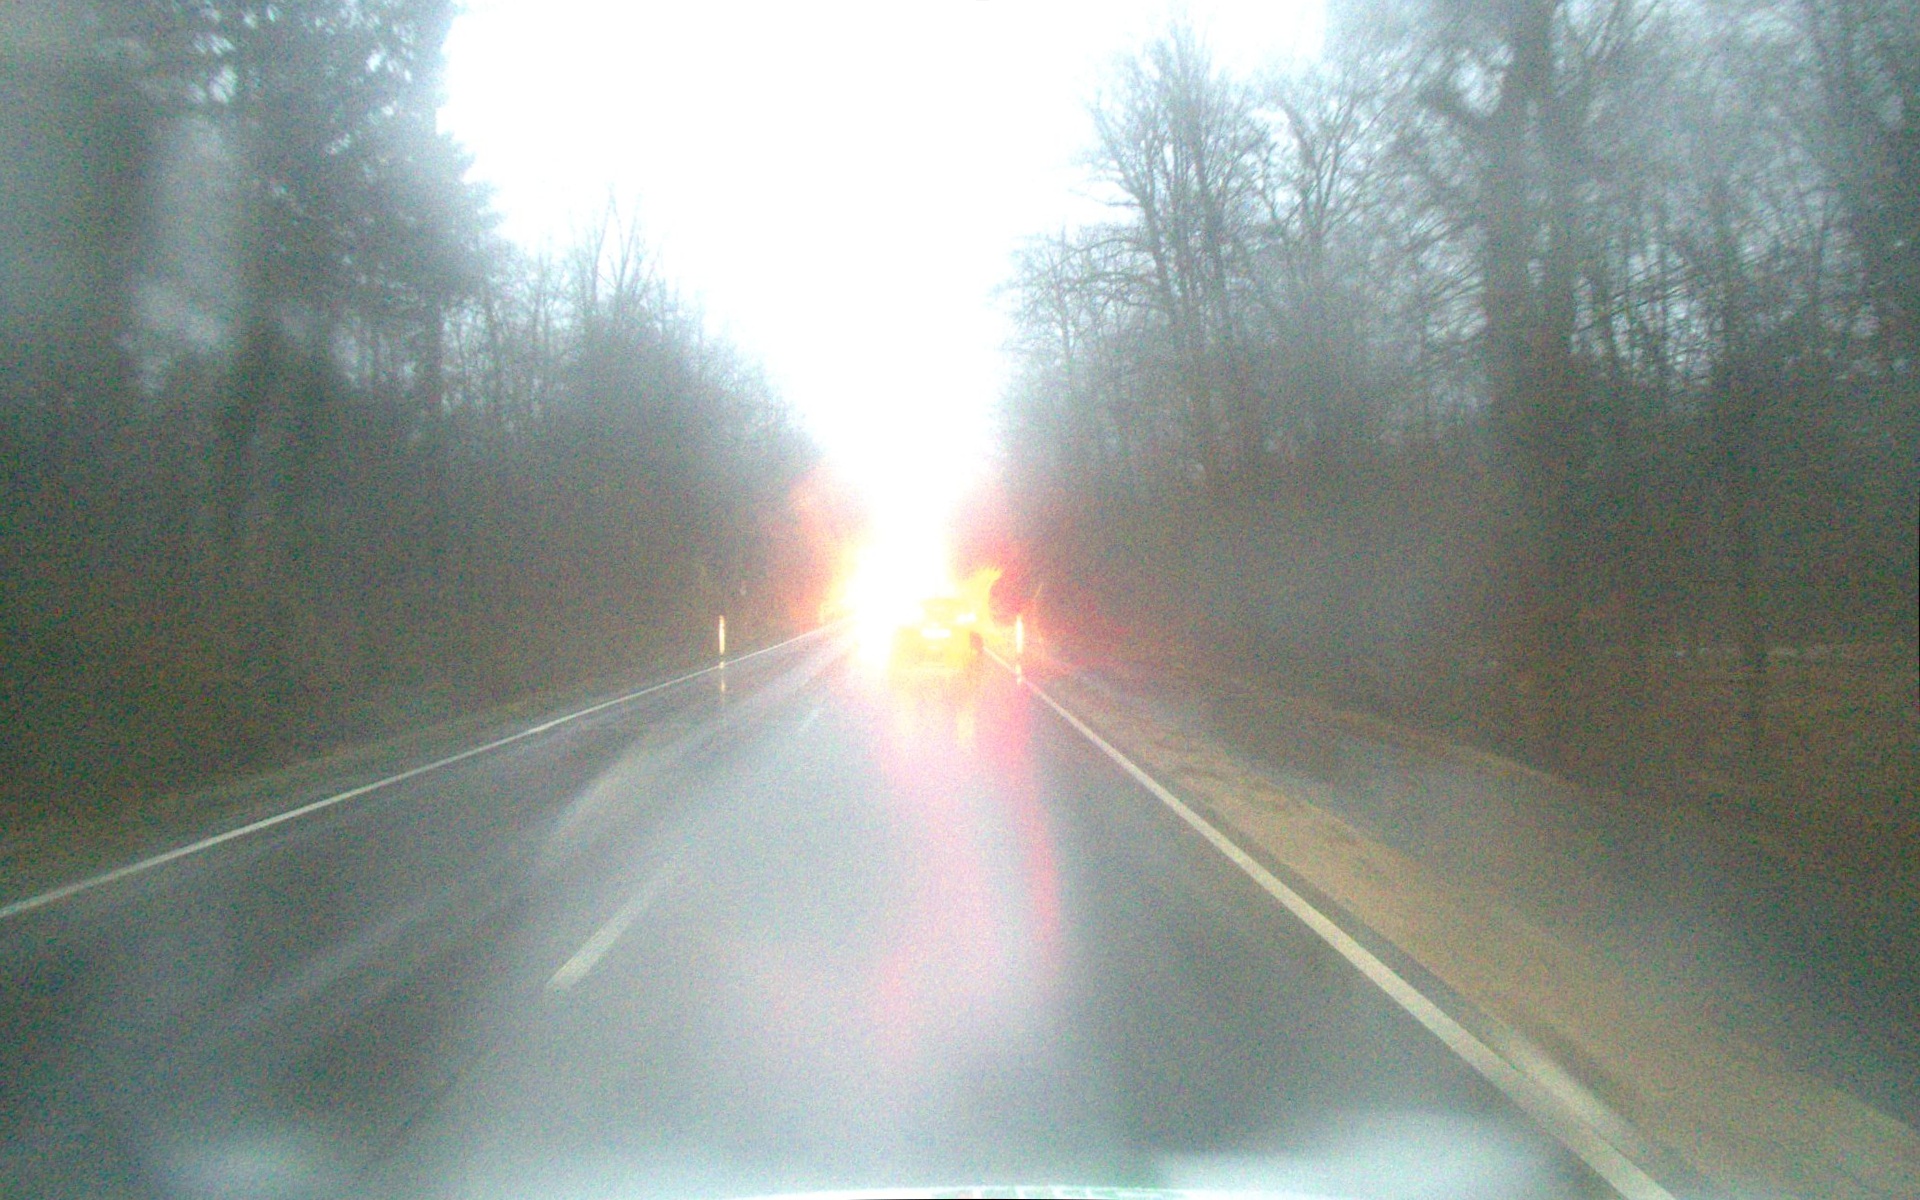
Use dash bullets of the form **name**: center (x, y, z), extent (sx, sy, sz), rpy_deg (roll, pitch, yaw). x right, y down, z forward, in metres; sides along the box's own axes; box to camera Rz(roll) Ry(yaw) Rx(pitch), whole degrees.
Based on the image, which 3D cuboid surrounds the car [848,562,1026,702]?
- **car**: center (-0.434, 0.573, 32.654), extent (3.119, 2.428, 6.635), rpy_deg (1, 0, -1)
